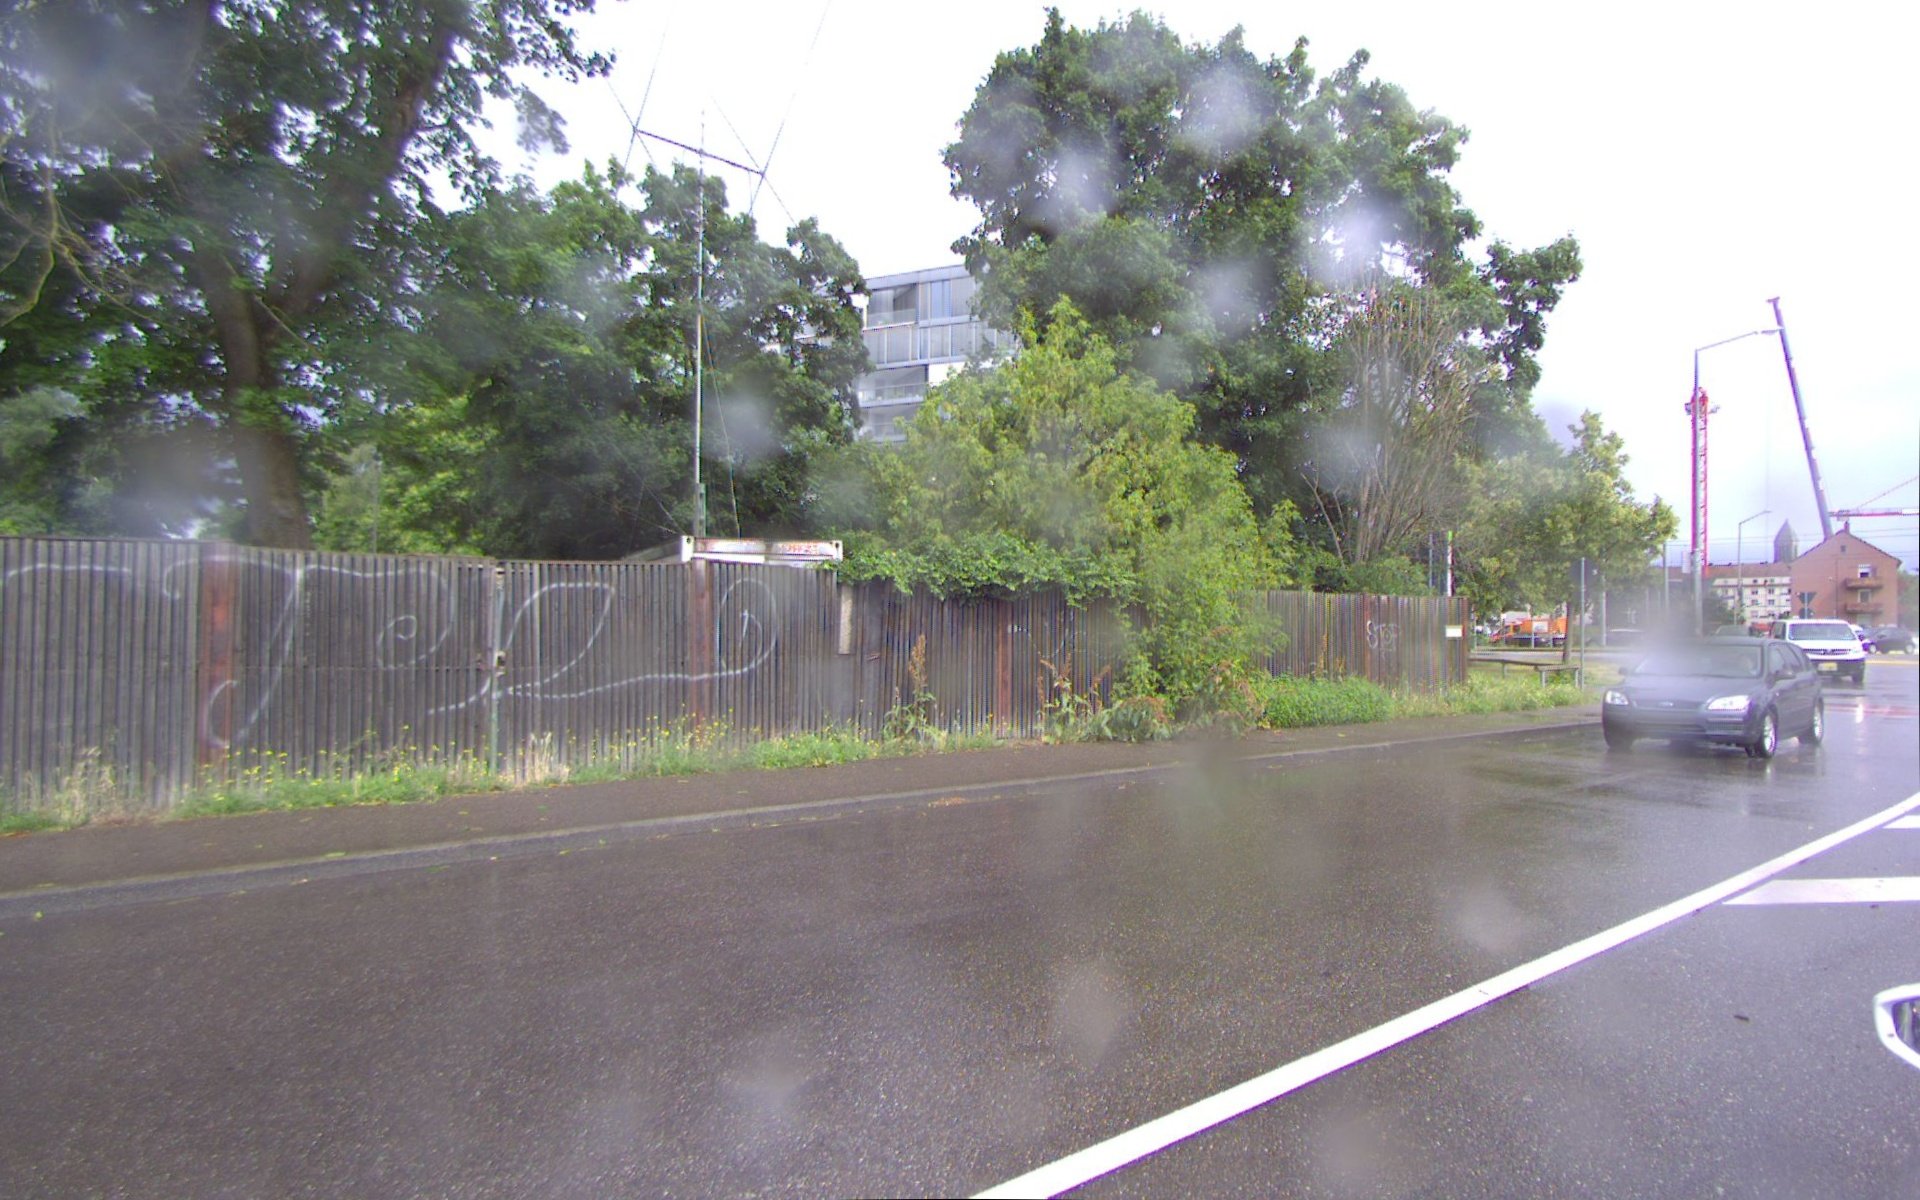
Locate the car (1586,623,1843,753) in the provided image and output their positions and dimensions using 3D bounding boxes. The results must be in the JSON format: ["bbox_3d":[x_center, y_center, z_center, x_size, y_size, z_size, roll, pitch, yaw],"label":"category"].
[{"bbox_3d":[10.379,1.108,13.729,4.142,1.502,1.860,2,-2,-39],"label":"car"}]

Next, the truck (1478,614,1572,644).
[{"bbox_3d":[47.954,2.431,85.393,2.407,2.475,6.665,1,-2,-32],"label":"truck"}]

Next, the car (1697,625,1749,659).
[{"bbox_3d":[40.382,2.192,53.239,1.709,1.686,4.101,0,-2,30],"label":"car"}]

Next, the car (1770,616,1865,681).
[{"bbox_3d":[27.417,1.519,32.267,1.863,1.901,5.115,0,-2,35],"label":"car"}]
